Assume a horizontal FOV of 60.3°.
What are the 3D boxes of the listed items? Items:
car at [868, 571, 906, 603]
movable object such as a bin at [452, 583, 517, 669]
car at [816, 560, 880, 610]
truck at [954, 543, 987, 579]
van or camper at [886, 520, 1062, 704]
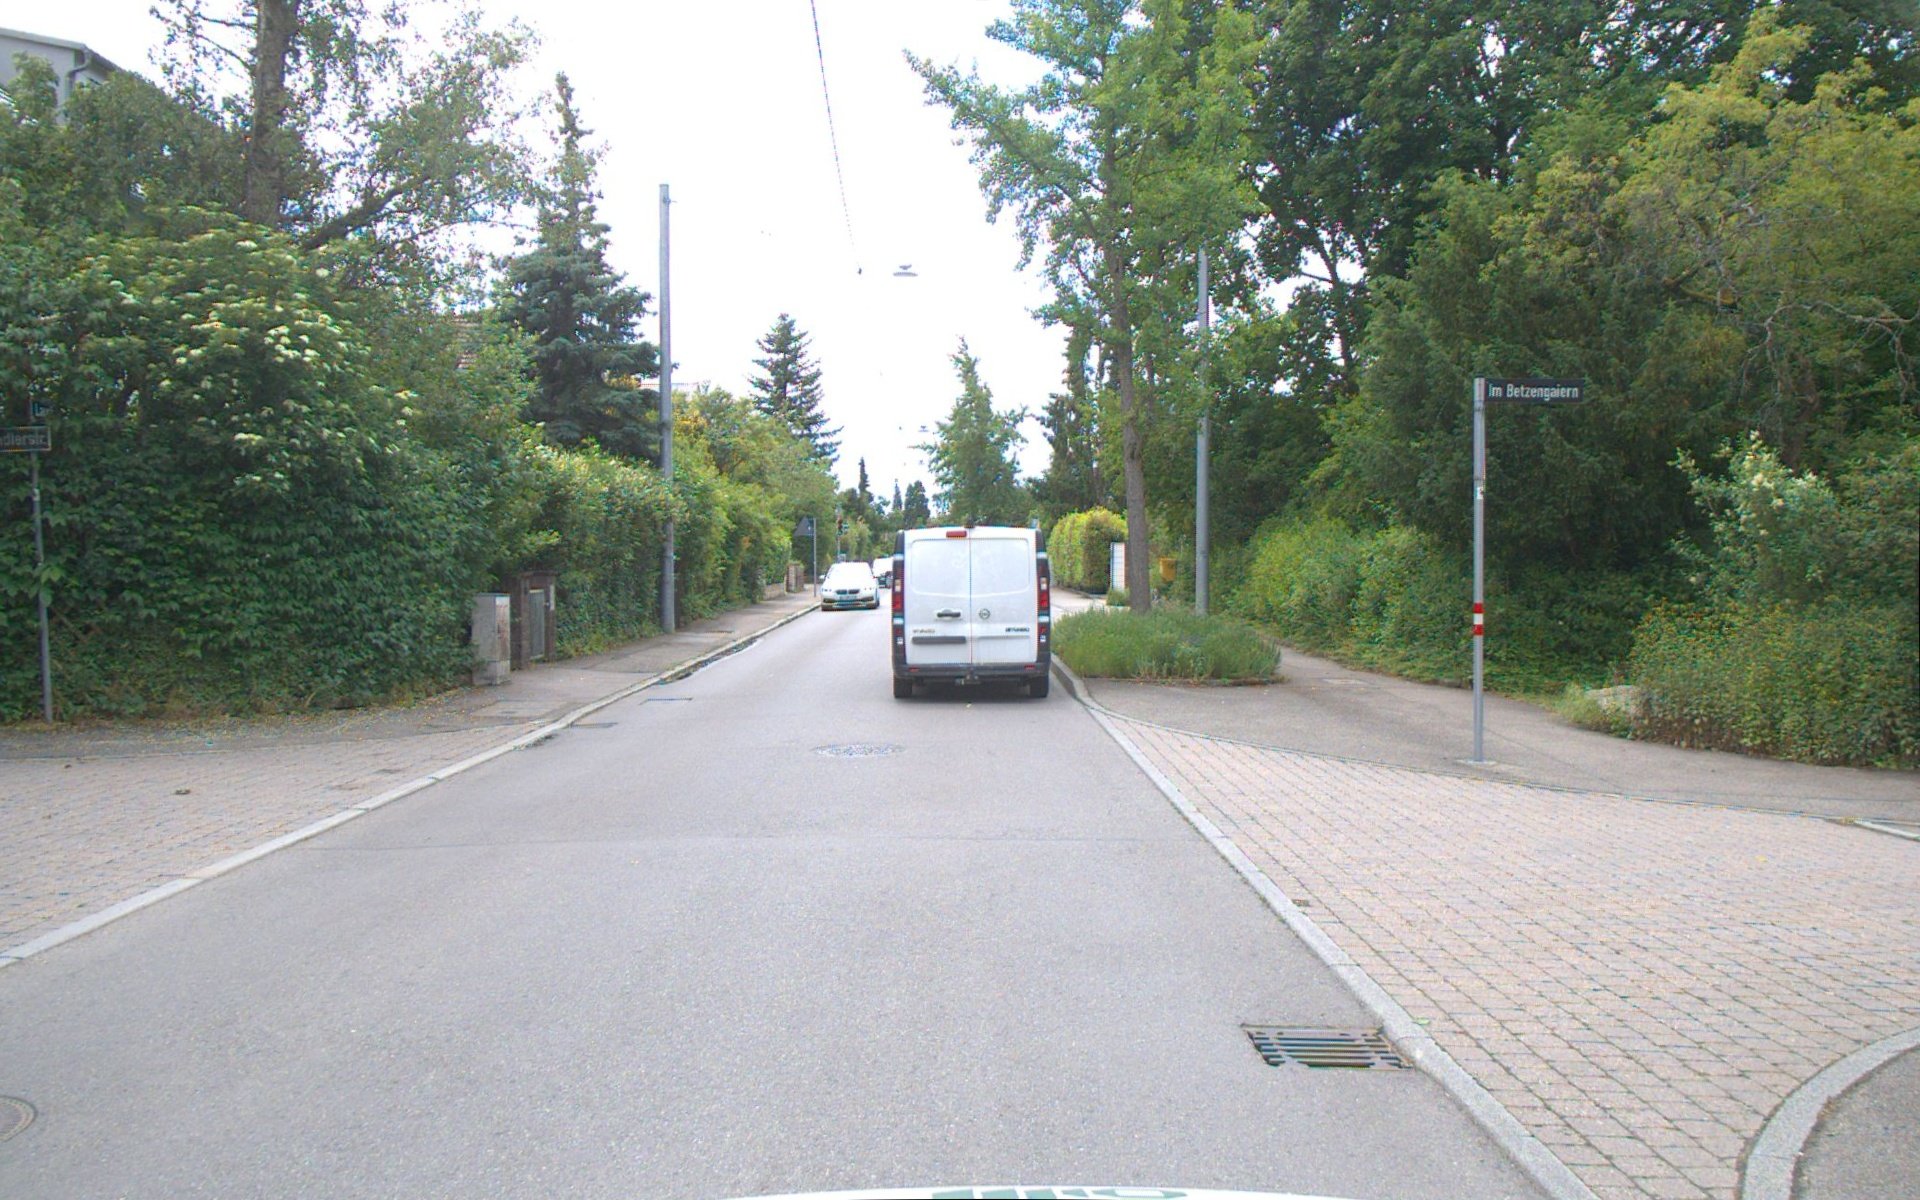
[{"bbox_3d":[-3.680,-0.690,83.550,1.769,1.456,4.117,-3,1,-2],"label":"car"},{"bbox_3d":[-6.608,0.353,23.017,0.713,1.136,0.585,3,1,-4],"label":"movable object such as a bin"},{"bbox_3d":[-3.540,-0.503,52.847,1.769,1.456,4.300,-3,1,-1],"label":"car"},{"bbox_3d":[0.740,-2.857,120.871,2.143,2.514,7.429,1,1,-1],"label":"truck"},{"bbox_3d":[0.087,0.128,20.548,1.900,1.988,4.763,1,0,-2],"label":"van or camper"}]
